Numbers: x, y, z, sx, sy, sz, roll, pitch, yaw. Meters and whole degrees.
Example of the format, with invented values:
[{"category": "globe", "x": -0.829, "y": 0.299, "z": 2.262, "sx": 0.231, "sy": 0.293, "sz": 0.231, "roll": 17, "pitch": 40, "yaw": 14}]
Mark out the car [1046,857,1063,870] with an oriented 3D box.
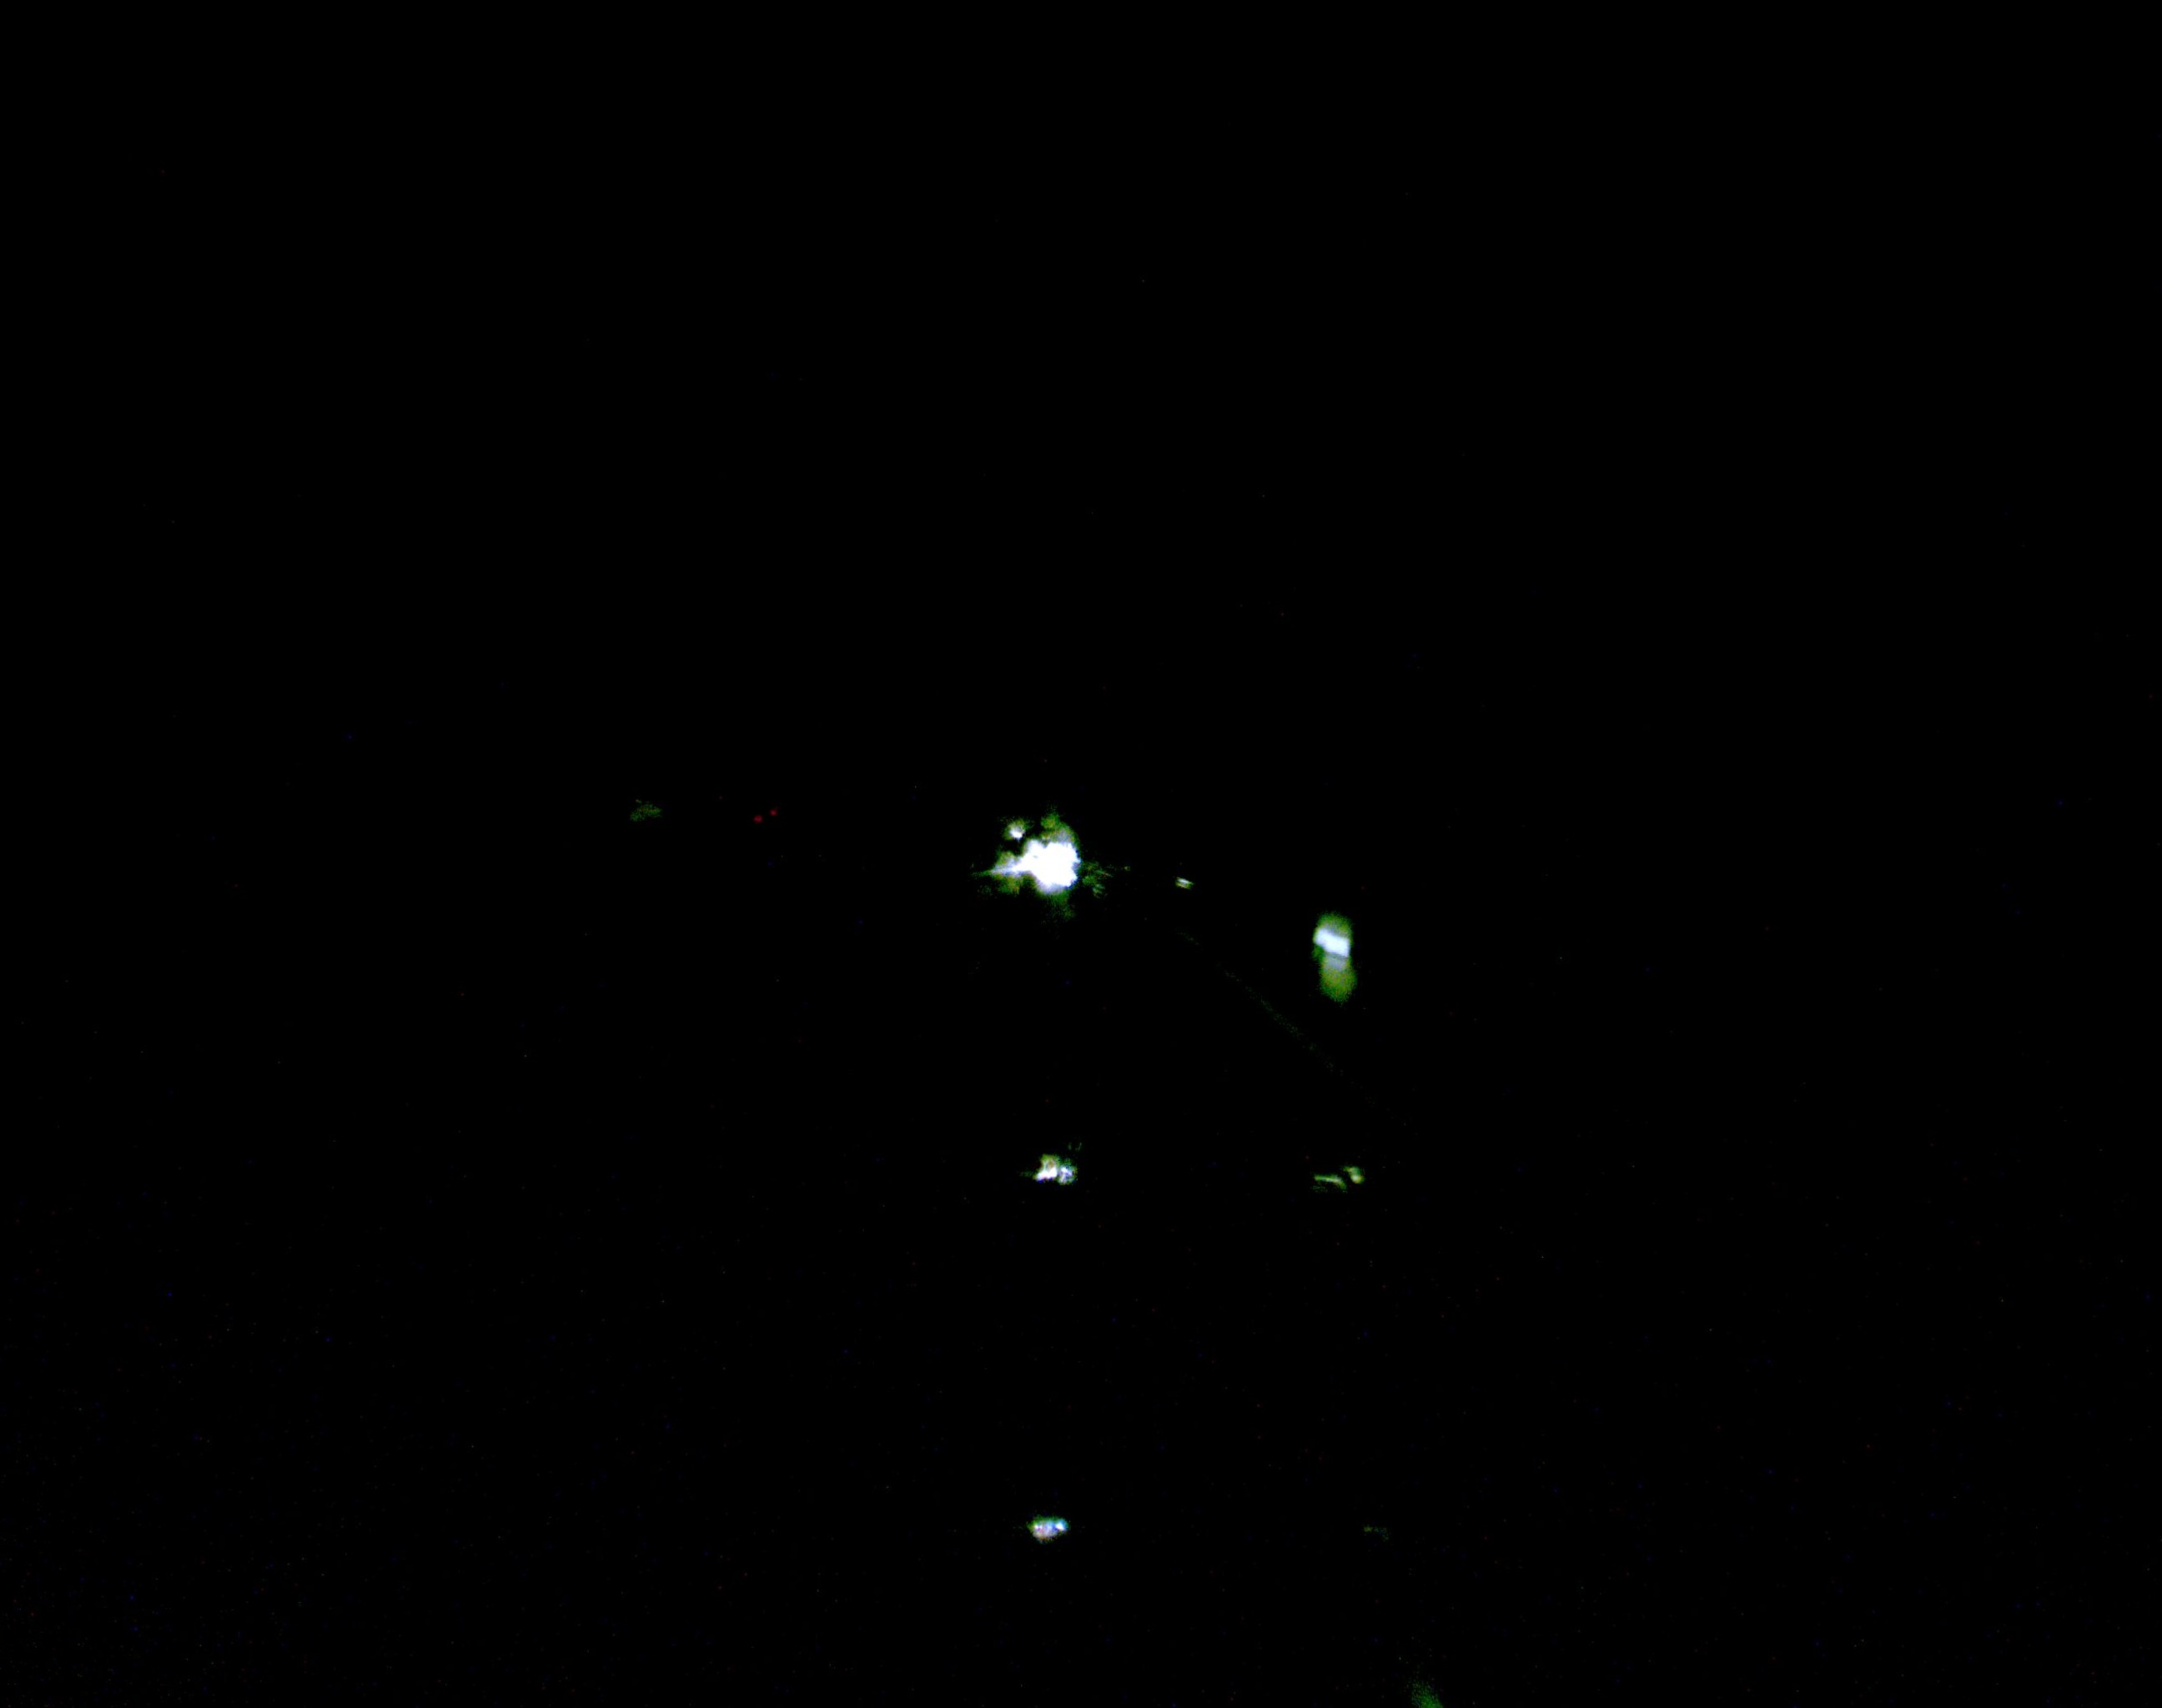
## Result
[{"category": "car", "x": -3.337, "y": 1.144, "z": 102.687, "sx": 1.987, "sy": 1.500, "sz": 4.000, "roll": 0, "pitch": 1, "yaw": 0}]
